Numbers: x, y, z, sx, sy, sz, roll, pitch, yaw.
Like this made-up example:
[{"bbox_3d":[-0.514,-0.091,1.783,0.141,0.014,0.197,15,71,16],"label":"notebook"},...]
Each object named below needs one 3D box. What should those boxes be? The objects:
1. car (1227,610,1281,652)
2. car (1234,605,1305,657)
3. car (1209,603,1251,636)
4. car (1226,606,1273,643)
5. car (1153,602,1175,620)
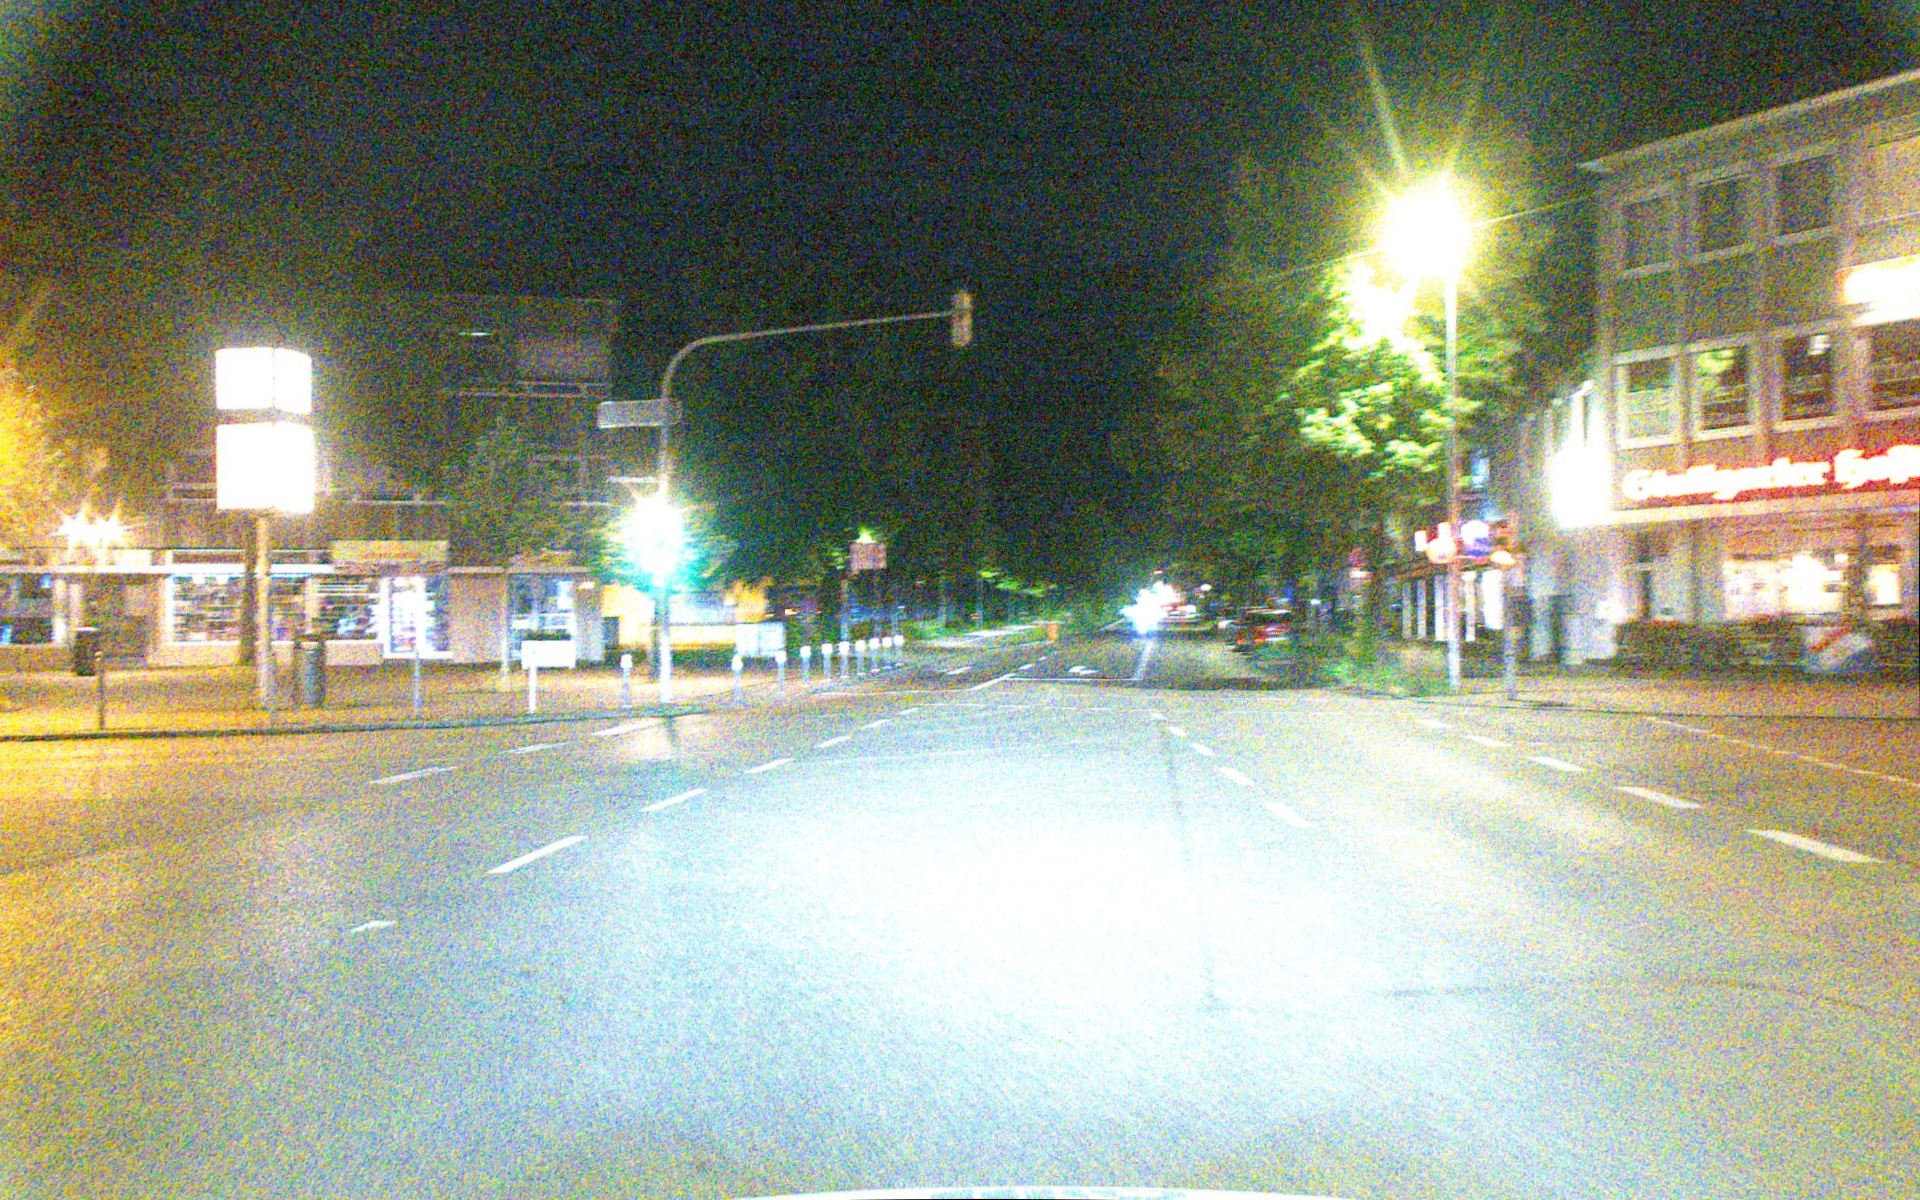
[{"bbox_3d":[10.926,1.135,61.374,1.848,1.478,3.898,1,0,12],"label":"car"},{"bbox_3d":[10.516,1.026,56.382,1.830,1.682,3.864,1,0,2],"label":"car"},{"bbox_3d":[14.174,1.033,86.729,1.964,1.654,3.898,1,0,12],"label":"car"},{"bbox_3d":[12.057,1.000,69.076,1.848,1.478,3.898,1,0,9],"label":"car"},{"bbox_3d":[19.826,1.062,160.915,1.837,1.688,3.892,-1,0,3],"label":"car"}]
